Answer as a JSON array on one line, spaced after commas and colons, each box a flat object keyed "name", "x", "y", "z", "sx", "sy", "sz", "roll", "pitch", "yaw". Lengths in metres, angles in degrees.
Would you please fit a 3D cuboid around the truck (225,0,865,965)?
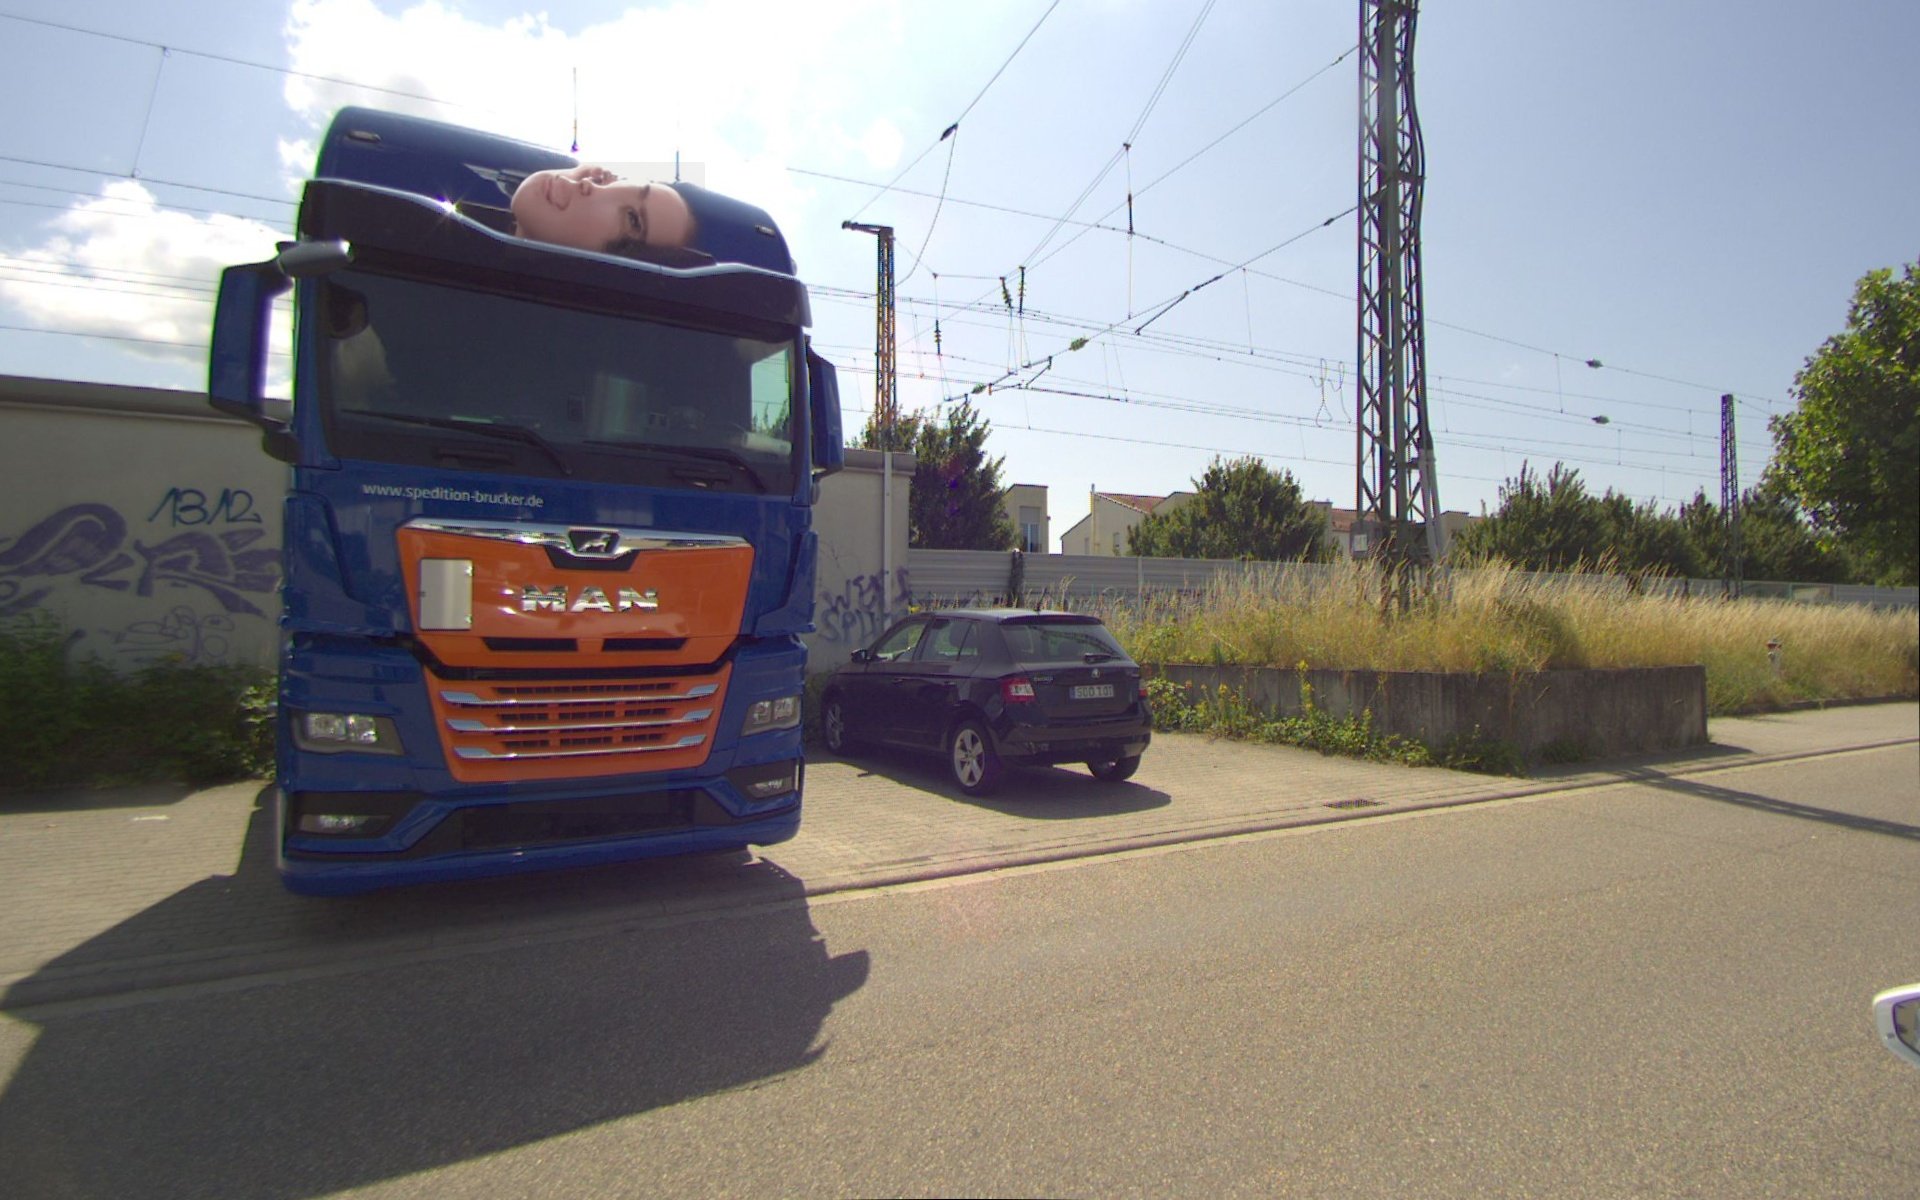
[{"name": "truck", "x": -3.319, "y": -0.507, "z": 7.324, "sx": 2.634, "sy": 3.873, "sz": 6.580, "roll": 1, "pitch": -1, "yaw": -31}]

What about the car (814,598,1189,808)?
[{"name": "car", "x": 0.192, "y": 0.852, "z": 9.293, "sx": 1.682, "sy": 1.519, "sz": 3.623, "roll": 3, "pitch": -4, "yaw": -32}]
